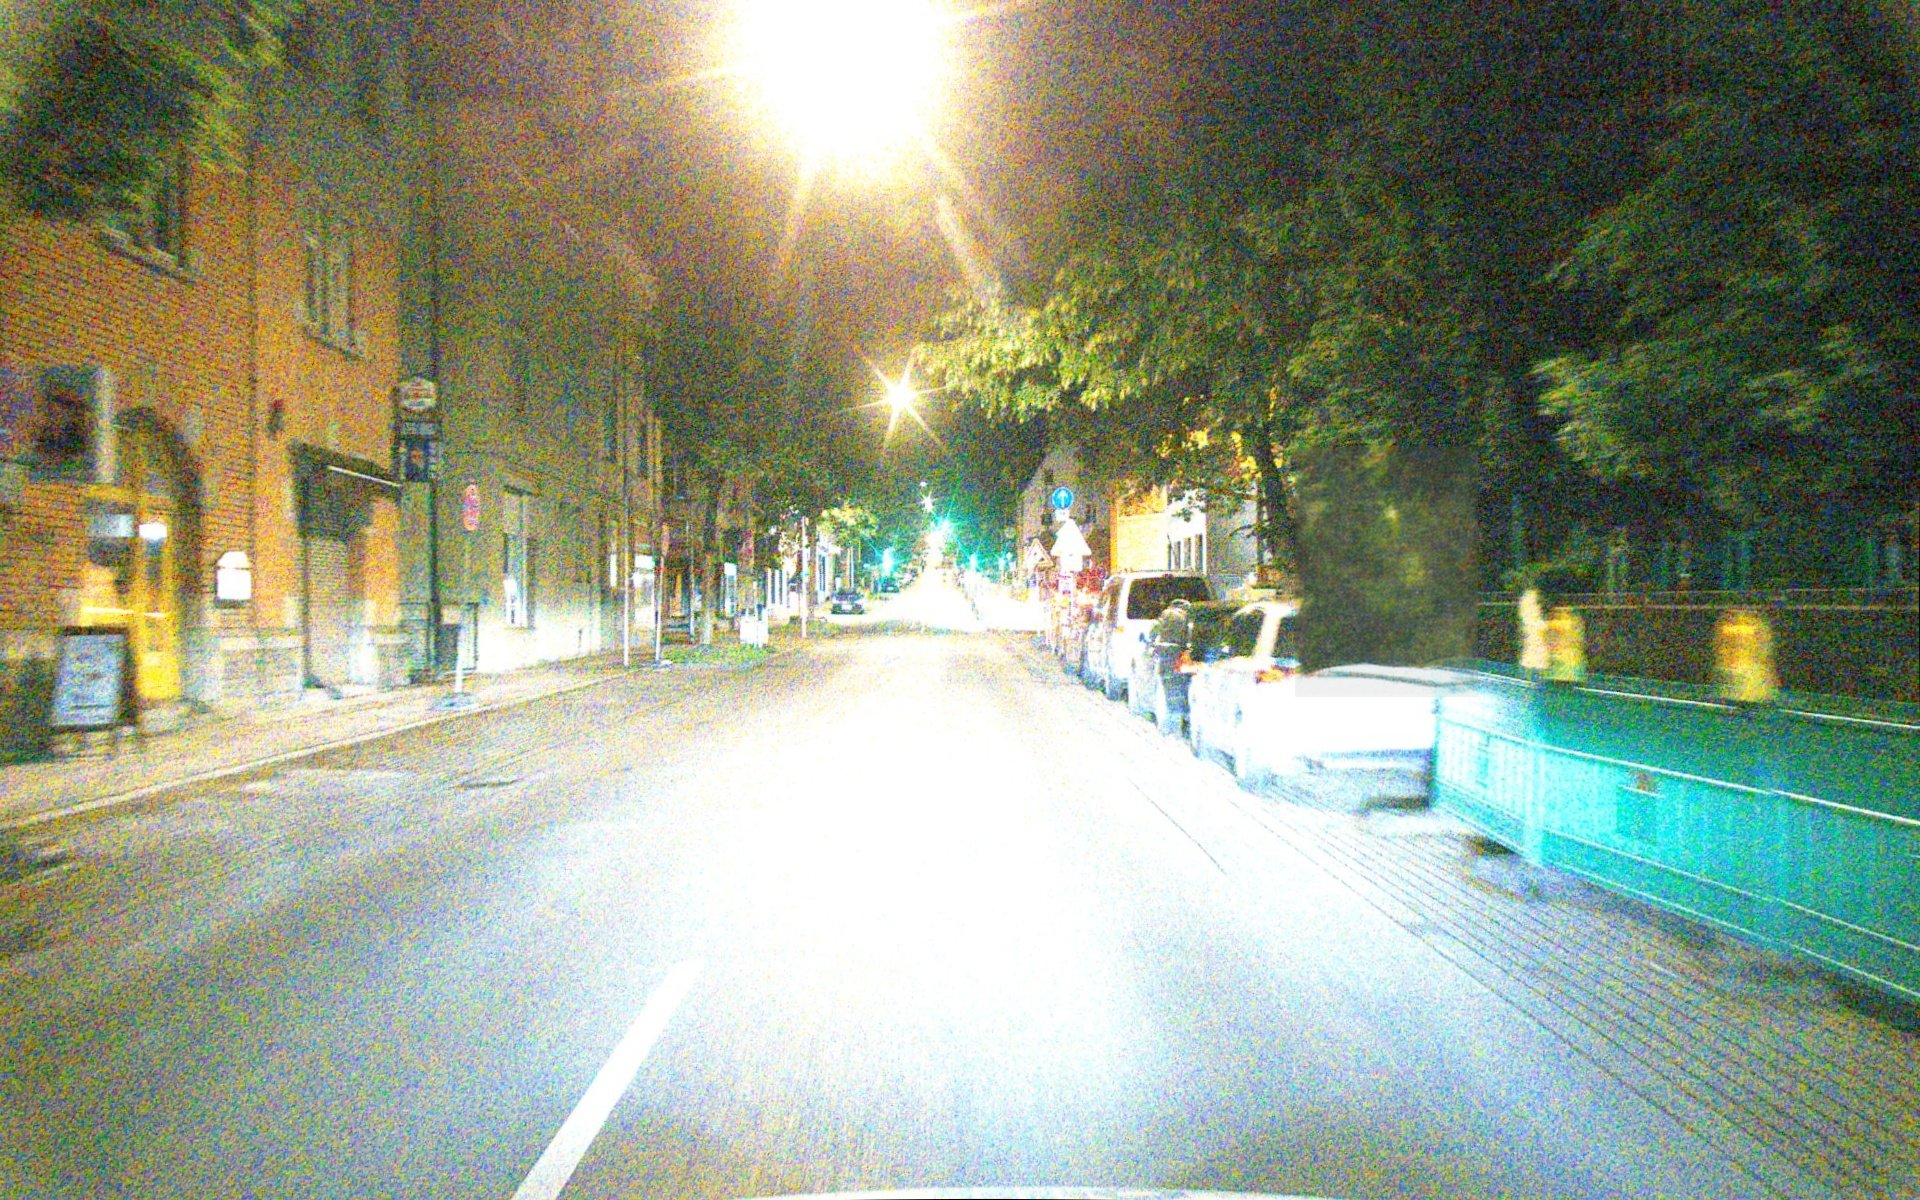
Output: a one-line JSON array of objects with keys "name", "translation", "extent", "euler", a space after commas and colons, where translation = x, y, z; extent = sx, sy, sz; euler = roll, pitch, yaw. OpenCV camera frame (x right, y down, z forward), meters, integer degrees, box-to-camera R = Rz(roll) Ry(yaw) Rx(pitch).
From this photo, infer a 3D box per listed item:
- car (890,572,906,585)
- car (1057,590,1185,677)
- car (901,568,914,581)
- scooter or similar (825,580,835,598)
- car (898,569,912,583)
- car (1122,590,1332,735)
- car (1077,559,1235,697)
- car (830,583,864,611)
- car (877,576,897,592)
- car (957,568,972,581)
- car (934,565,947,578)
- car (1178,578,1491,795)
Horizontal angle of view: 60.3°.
[{"name": "car", "translation": [-7.493, -2.588, 201.658], "extent": [1.835, 1.571, 4.204], "euler": [-1, 1, -1]}, {"name": "car", "translation": [2.864, 0.555, 30.273], "extent": [1.693, 1.444, 4.321], "euler": [-1, 0, -3]}, {"name": "car", "translation": [-7.717, -3.742, 243.900], "extent": [1.835, 1.846, 4.205], "euler": [-1, 1, 0]}, {"name": "scooter or similar", "translation": [-9.285, -0.774, 118.087], "extent": [0.517, 1.185, 2.506], "euler": [-2, -1, -1]}, {"name": "car", "translation": [-7.549, -3.271, 225.950], "extent": [1.835, 1.846, 4.204], "euler": [-1, 1, -1]}, {"name": "car", "translation": [2.987, 0.633, 19.362], "extent": [1.651, 1.445, 4.443], "euler": [-2, 0, -1]}, {"name": "car", "translation": [2.891, 0.374, 25.219], "extent": [1.700, 1.887, 4.314], "euler": [-1, 0, -2]}, {"name": "car", "translation": [-6.268, -0.205, 92.109], "extent": [1.637, 1.468, 4.204], "euler": [-1, 1, -1]}, {"name": "car", "translation": [-7.177, -1.582, 163.693], "extent": [1.835, 1.571, 4.204], "euler": [-1, 1, -1]}, {"name": "car", "translation": [0.571, -3.319, 214.801], "extent": [1.835, 1.571, 4.204], "euler": [-1, 1, -1]}, {"name": "car", "translation": [-2.943, -4.285, 249.426], "extent": [1.835, 1.846, 4.205], "euler": [-1, 1, 0]}, {"name": "car", "translation": [3.025, 0.619, 14.189], "extent": [1.704, 1.503, 4.000], "euler": [-3, 0, 0]}]
